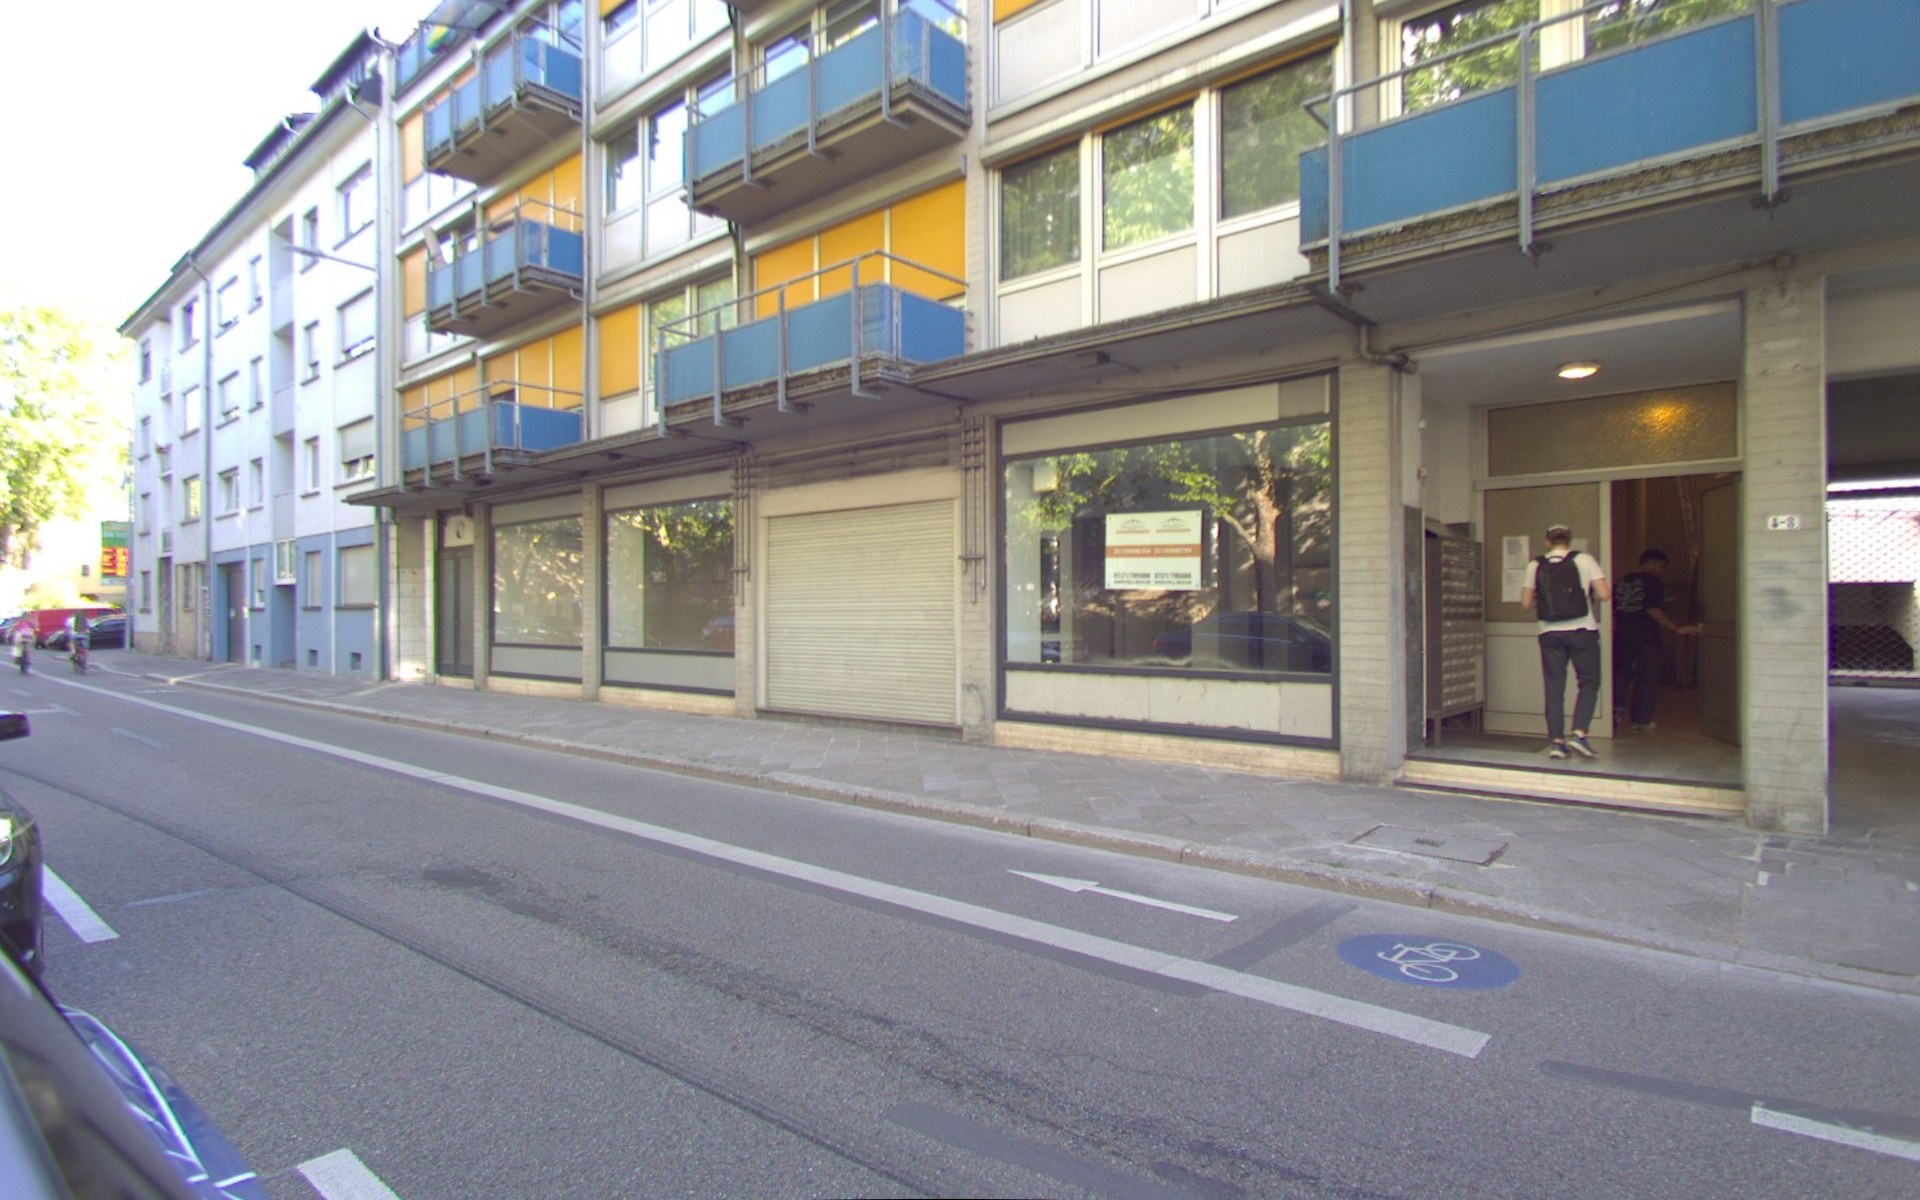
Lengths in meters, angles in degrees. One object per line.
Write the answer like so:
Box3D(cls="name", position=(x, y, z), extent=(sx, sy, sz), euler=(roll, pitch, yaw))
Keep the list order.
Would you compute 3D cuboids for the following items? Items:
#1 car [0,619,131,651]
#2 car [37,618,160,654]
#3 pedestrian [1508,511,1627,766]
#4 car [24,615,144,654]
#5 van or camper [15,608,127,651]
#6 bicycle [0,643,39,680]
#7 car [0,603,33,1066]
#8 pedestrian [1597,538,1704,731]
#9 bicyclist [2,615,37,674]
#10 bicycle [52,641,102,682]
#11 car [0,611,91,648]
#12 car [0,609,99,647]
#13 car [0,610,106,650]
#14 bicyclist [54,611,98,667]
Box3D(cls="car", position=(-45.720, 1.745, 51.700), extent=(1.999, 1.506, 4.927), euler=(-1, -1, 41))
Box3D(cls="car", position=(-39.751, 1.627, 46.781), extent=(1.999, 1.506, 4.093), euler=(-1, -1, 41))
Box3D(cls="pedestrian", position=(4.638, 0.268, 7.716), extent=(0.601, 1.813, 0.867), euler=(-1, 0, 41))
Box3D(cls="car", position=(-41.632, 1.615, 48.166), extent=(1.999, 1.703, 4.093), euler=(-1, -1, 41))
Box3D(cls="van or camper", position=(-43.888, 1.425, 50.008), extent=(1.999, 2.029, 3.946), euler=(-1, -1, 40))
Box3D(cls="bicycle", position=(-25.956, 1.676, 27.921), extent=(1.864, 0.936, 0.685), euler=(-1, -1, 44))
Box3D(cls="car", position=(-5.023, 0.780, 3.865), extent=(3.861, 1.467, 1.718), euler=(-1, -1, 40))
Box3D(cls="pedestrian", position=(6.475, 0.314, 9.504), extent=(0.539, 1.726, 0.663), euler=(0, -1, -37))
Box3D(cls="bicyclist", position=(-25.945, 1.211, 27.911), extent=(0.982, 1.590, 0.677), euler=(-2, -1, 44))
Box3D(cls="bicycle", position=(-25.174, 1.736, 28.844), extent=(1.835, 1.087, 0.854), euler=(-1, -1, 41))
Box3D(cls="car", position=(-57.394, 1.816, 62.860), extent=(1.999, 2.210, 4.927), euler=(-1, -1, 41))
Box3D(cls="car", position=(-55.401, 1.666, 61.150), extent=(1.999, 2.210, 4.927), euler=(-1, -1, 41))
Box3D(cls="car", position=(-53.313, 1.731, 59.199), extent=(1.999, 2.210, 4.927), euler=(-1, -1, 41))
Box3D(cls="bicyclist", position=(-25.238, 1.092, 28.902), extent=(0.839, 1.566, 0.833), euler=(-1, -1, 40))
